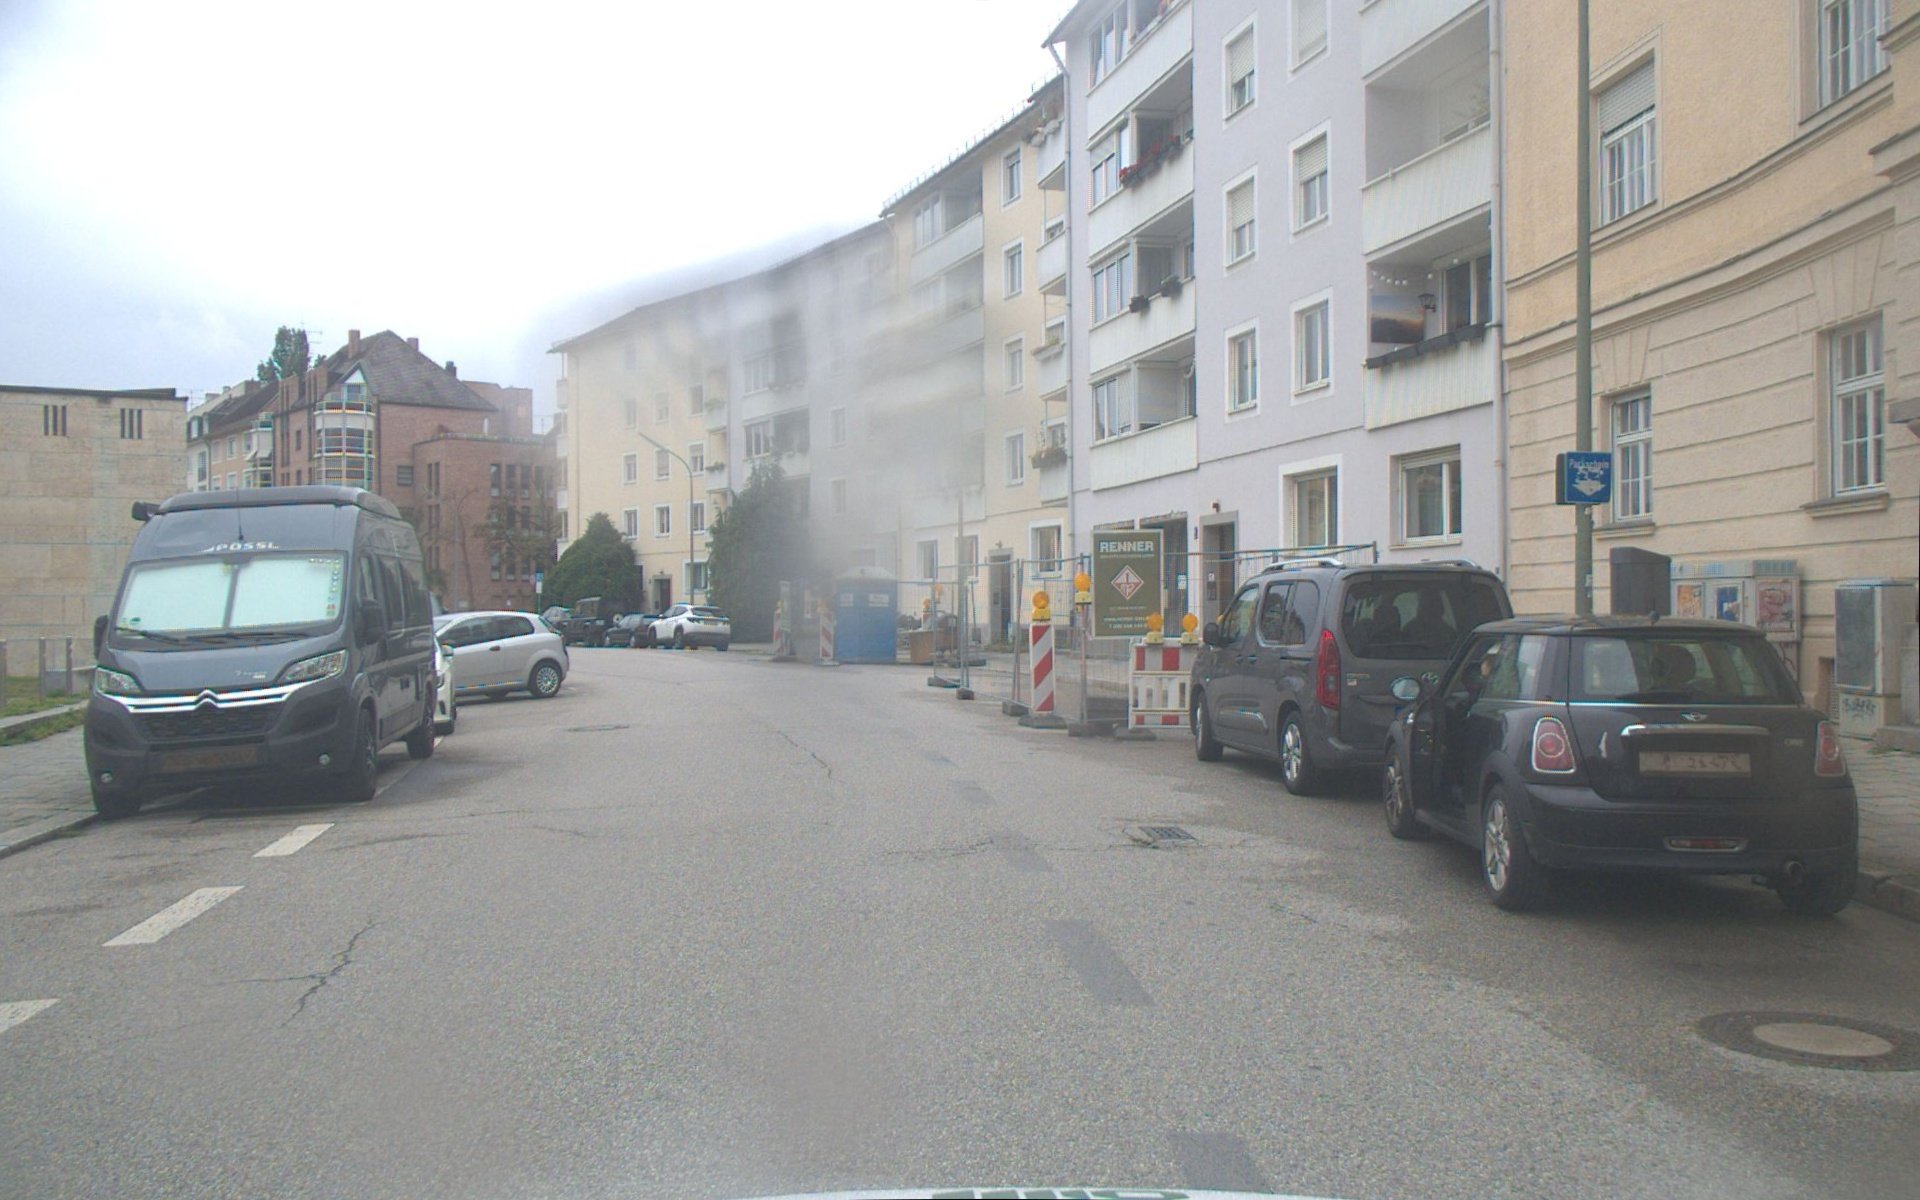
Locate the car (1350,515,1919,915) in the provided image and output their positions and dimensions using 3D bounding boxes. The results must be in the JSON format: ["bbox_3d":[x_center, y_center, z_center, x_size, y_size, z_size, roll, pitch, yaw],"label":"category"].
[{"bbox_3d":[3.500,0.534,9.343,1.798,1.760,3.731,1,-1,2],"label":"car"}]

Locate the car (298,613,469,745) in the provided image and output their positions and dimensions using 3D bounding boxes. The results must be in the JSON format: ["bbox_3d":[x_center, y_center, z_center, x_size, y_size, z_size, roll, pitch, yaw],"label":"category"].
[{"bbox_3d":[-7.500,0.956,21.845,1.798,1.411,4.123,-4,1,-16],"label":"car"}]

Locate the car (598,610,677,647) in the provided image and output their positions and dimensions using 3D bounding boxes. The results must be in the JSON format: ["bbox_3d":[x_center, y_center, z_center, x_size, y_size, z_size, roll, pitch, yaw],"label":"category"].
[{"bbox_3d":[-12.608,1.125,64.616,1.645,1.373,3.757,2,-2,-35],"label":"car"}]

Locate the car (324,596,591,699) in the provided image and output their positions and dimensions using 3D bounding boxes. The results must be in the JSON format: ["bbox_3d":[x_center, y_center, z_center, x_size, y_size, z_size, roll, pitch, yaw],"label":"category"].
[{"bbox_3d":[-8.233,0.771,27.348,1.645,1.557,3.959,1,-1,41],"label":"car"}]

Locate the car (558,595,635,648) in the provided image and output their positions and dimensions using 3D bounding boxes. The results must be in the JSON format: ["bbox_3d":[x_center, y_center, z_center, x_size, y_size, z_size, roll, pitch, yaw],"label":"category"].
[{"bbox_3d":[-15.095,0.859,68.544,1.730,2.118,4.466,2,-1,-32],"label":"car"}]

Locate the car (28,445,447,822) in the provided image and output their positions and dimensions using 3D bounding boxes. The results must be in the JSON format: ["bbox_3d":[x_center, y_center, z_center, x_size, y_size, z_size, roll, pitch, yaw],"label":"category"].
[{"bbox_3d":[-6.083,0.228,14.863,2.106,2.619,6.193,-2,0,-11],"label":"car"}]

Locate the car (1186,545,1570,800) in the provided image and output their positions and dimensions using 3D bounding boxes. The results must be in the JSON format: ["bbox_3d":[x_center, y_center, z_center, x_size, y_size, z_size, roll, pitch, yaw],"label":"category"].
[{"bbox_3d":[3.356,0.550,14.182,1.801,1.830,4.232,1,-1,-6],"label":"car"}]

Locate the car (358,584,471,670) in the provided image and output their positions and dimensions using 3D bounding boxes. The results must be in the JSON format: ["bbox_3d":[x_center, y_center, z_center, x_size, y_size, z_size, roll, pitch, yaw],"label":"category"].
[{"bbox_3d":[-12.399,0.557,37.401,1.967,1.803,4.778,0,0,-24],"label":"car"}]

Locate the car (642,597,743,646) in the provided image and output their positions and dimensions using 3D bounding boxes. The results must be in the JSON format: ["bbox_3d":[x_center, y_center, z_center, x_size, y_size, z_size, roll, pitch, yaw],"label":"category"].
[{"bbox_3d":[-9.774,0.763,60.249,2.007,1.707,4.562,2,-1,-32],"label":"car"}]
